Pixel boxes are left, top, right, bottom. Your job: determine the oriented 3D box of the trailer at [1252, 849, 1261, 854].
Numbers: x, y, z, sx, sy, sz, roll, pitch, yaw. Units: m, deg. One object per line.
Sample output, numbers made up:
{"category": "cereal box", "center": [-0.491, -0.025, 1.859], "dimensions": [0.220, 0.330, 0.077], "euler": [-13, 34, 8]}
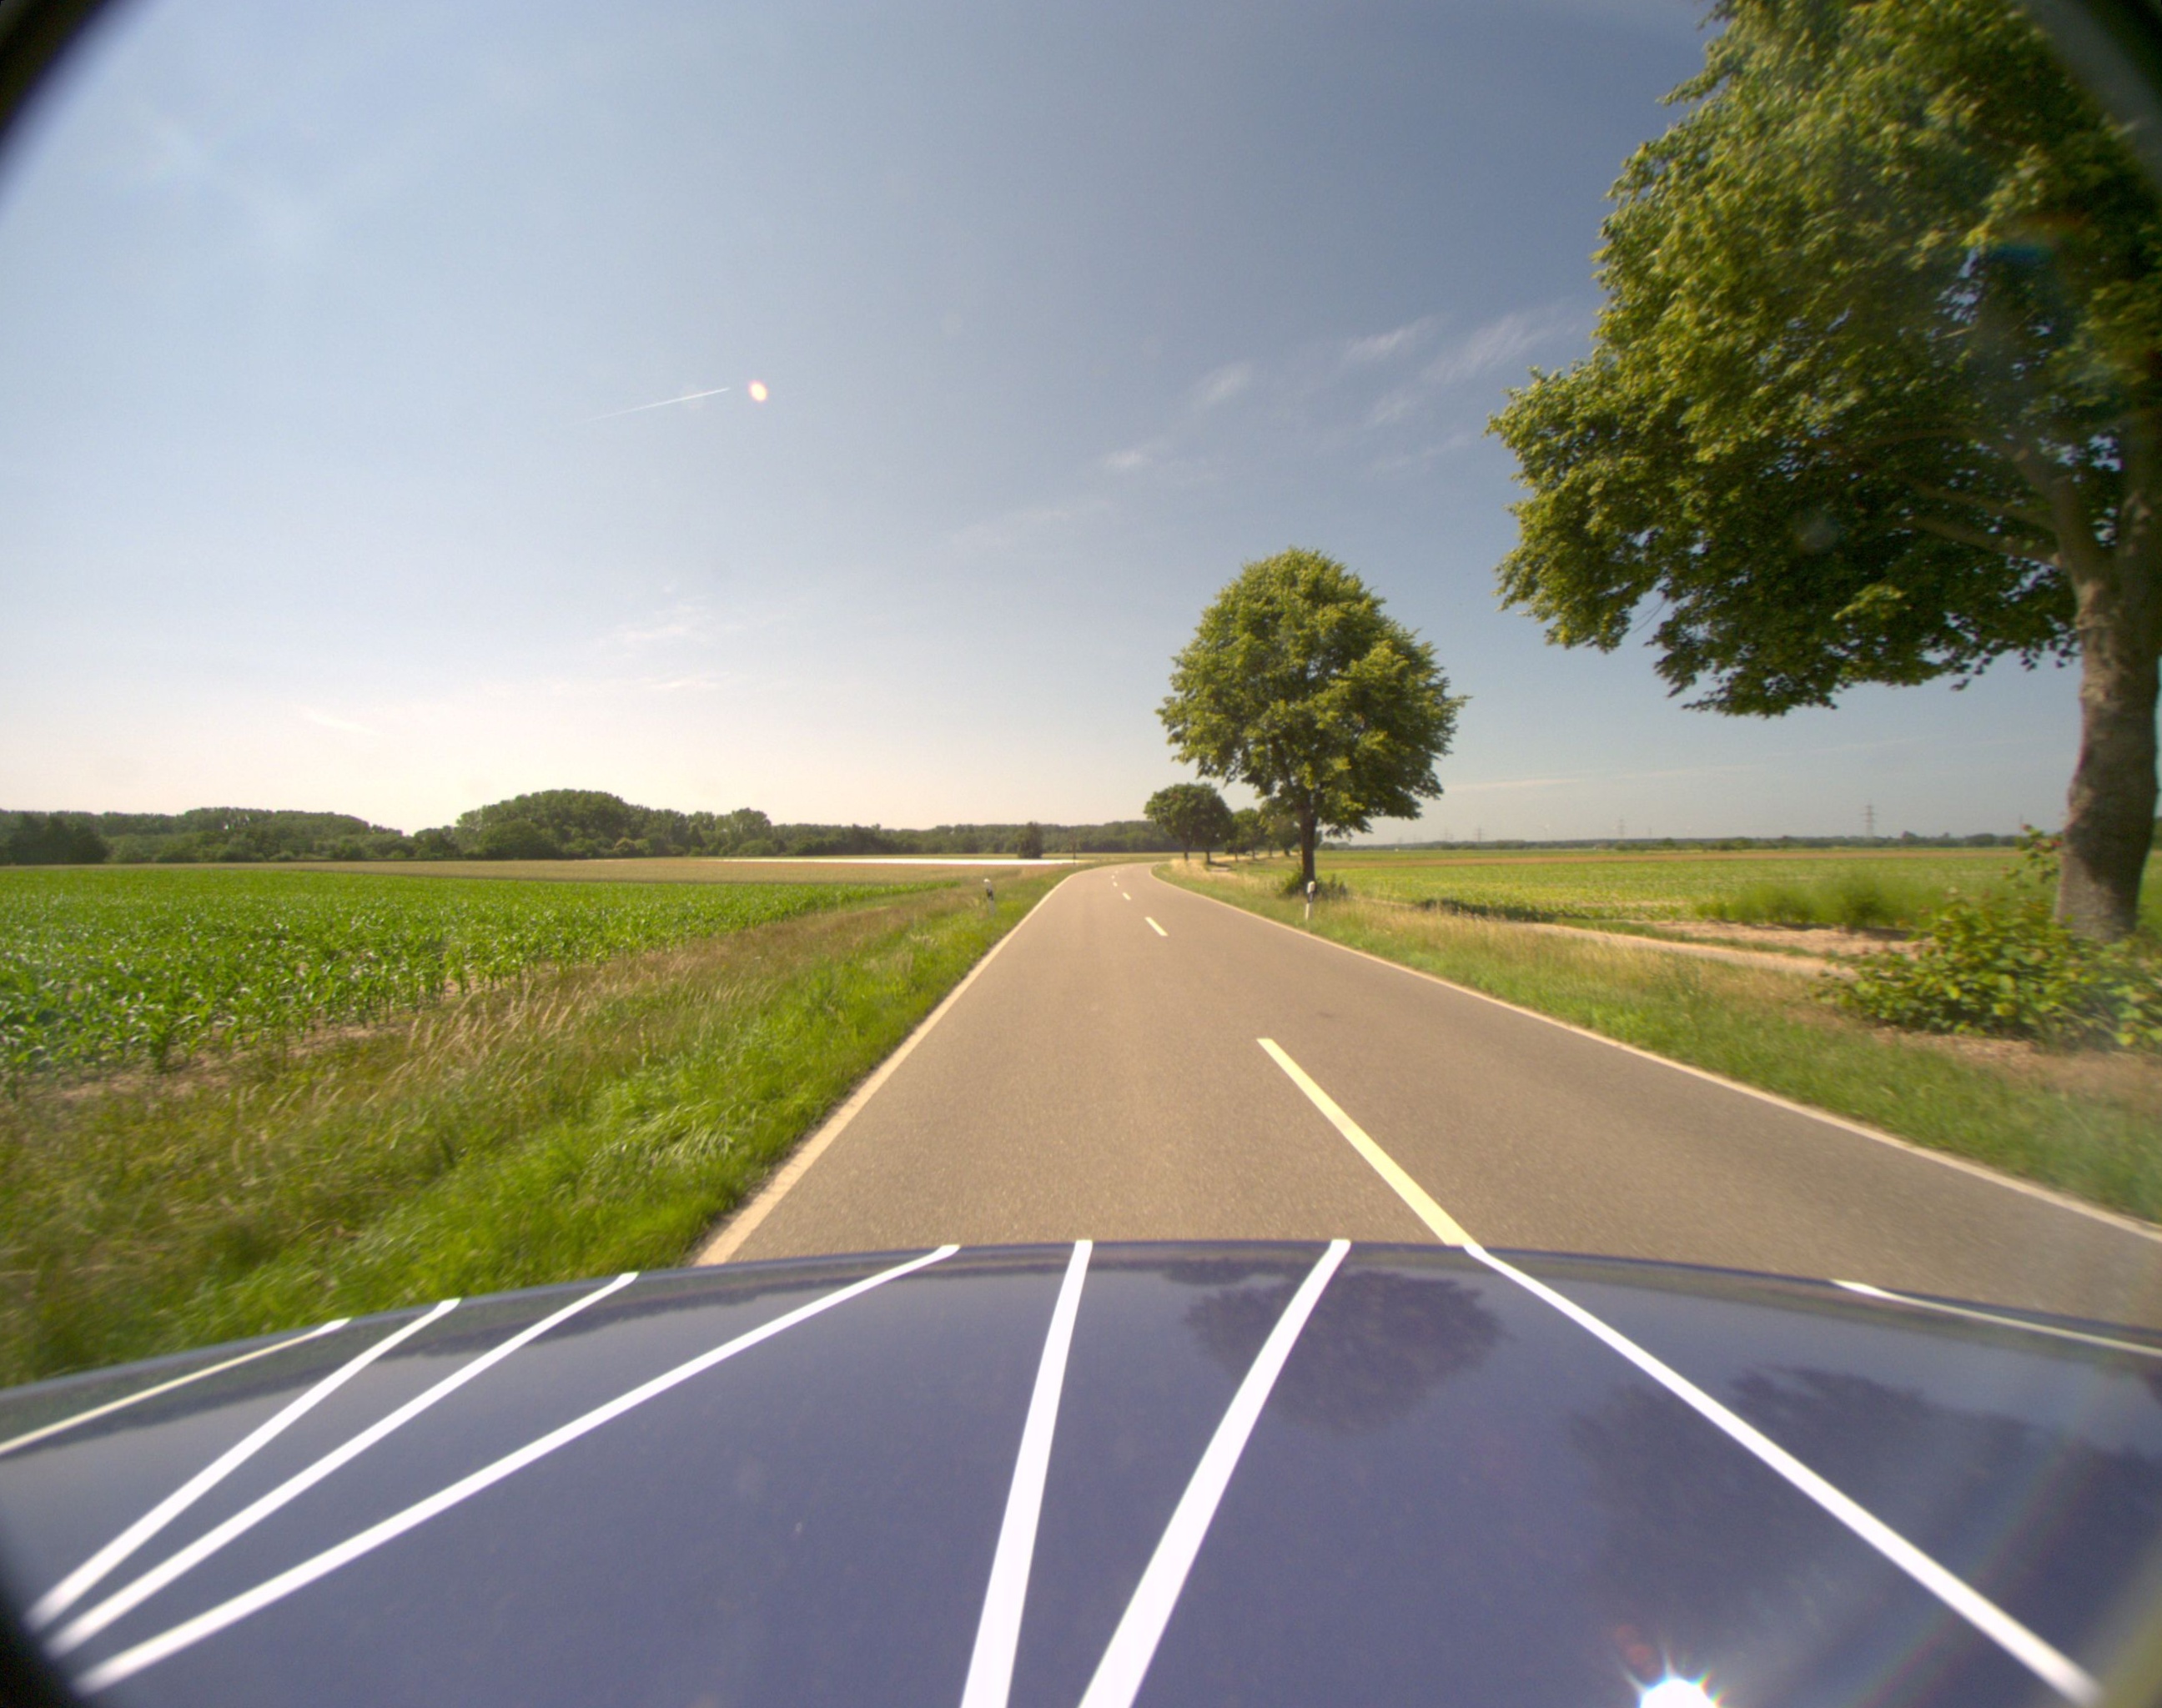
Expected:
{"category": "trailer", "center": [47.461, -0.693, 205.901], "dimensions": [1.623, 1.059, 4.126], "euler": [3, 1, 22]}
